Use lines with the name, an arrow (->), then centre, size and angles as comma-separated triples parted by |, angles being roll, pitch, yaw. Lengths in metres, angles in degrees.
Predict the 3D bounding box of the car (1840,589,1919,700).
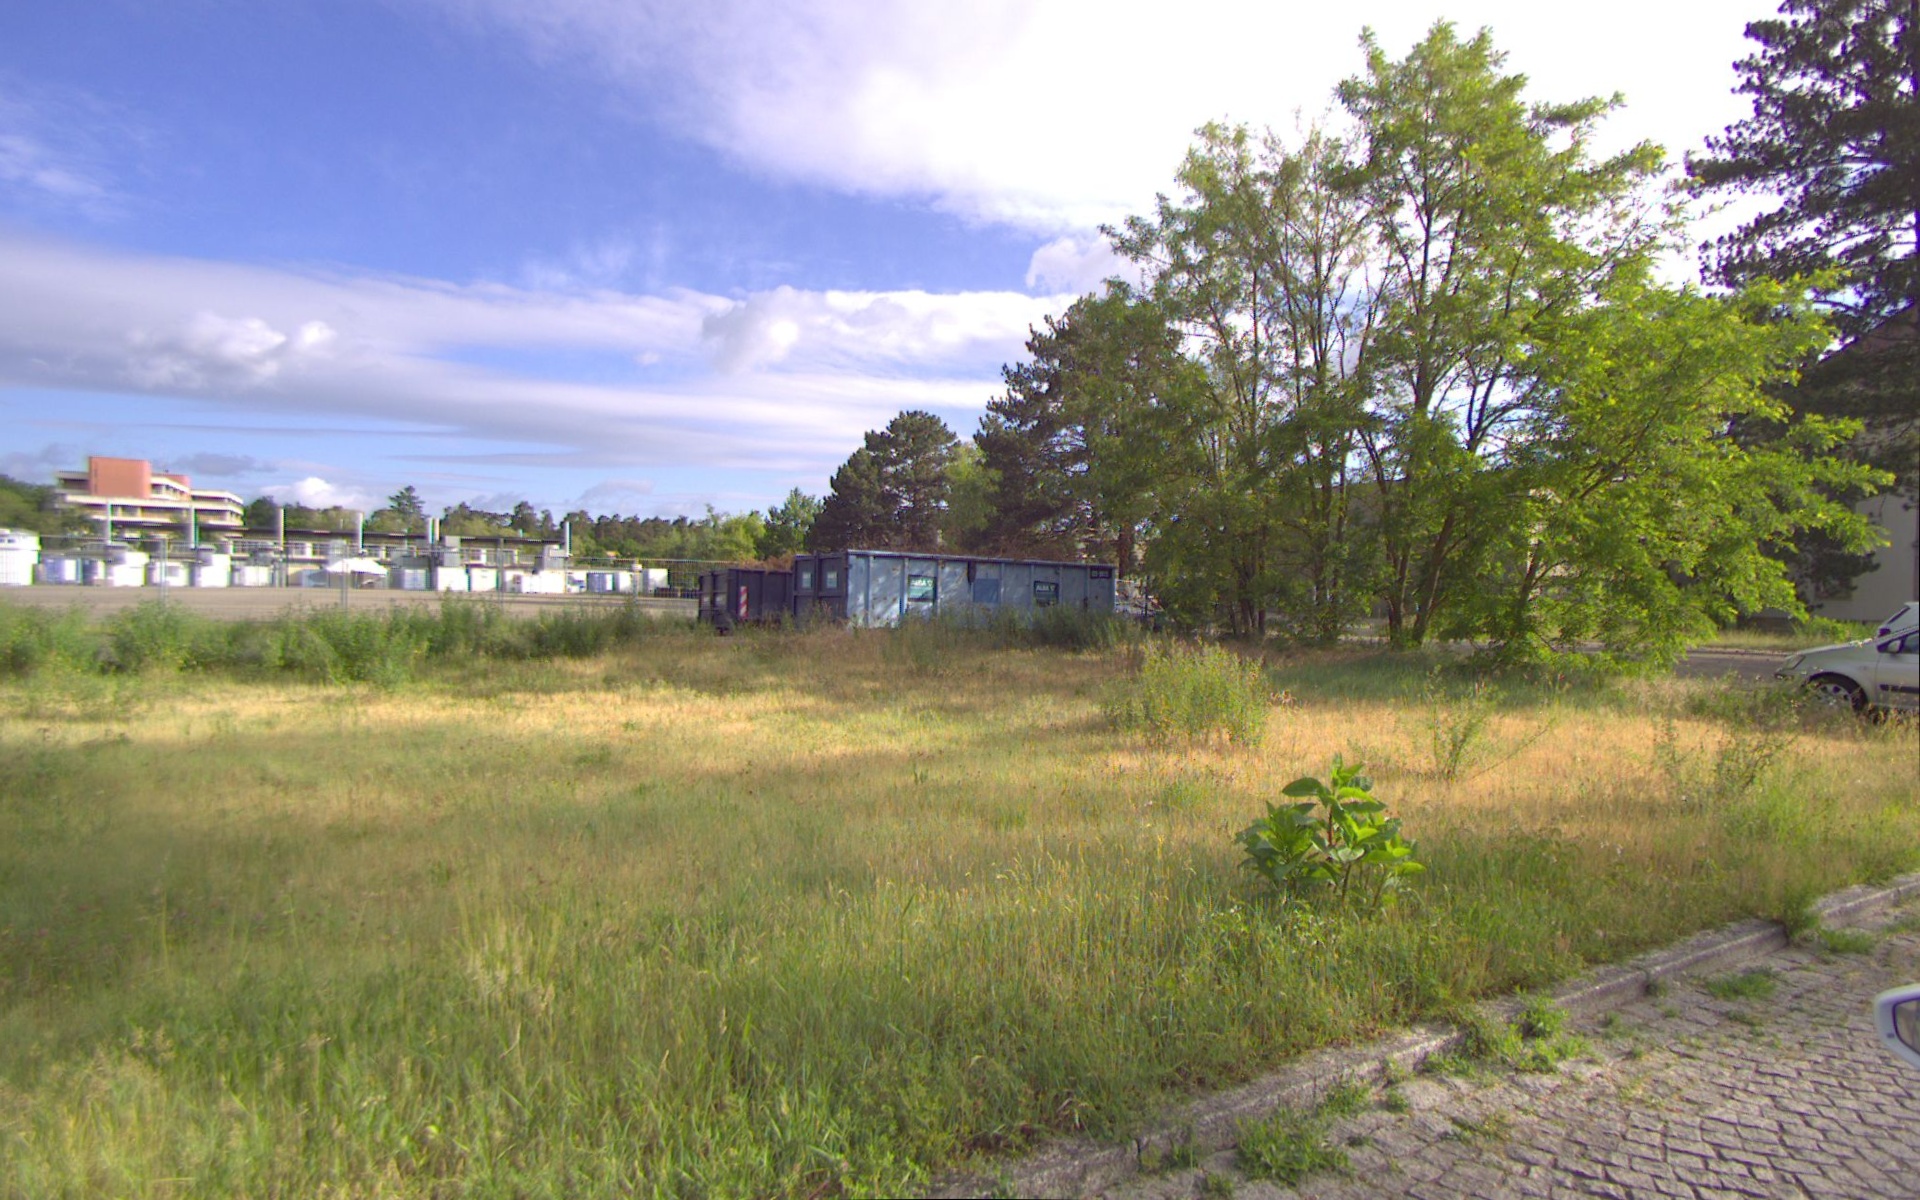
car -> 14.435, 0.741, 13.244 | 1.837, 1.449, 3.808 | 2, 4, -31

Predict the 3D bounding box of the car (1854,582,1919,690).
car -> 16.449, 0.703, 15.092 | 1.840, 1.621, 4.094 | 1, 4, -34

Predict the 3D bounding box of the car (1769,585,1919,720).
car -> 12.203, 0.710, 11.861 | 1.829, 1.493, 3.663 | 2, 4, -31

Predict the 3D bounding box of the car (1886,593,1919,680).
car -> 18.557, 0.795, 16.466 | 1.882, 1.475, 4.560 | -1, 5, -32

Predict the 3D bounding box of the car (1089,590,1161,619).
car -> 8.780, 0.212, 53.695 | 1.645, 1.400, 3.969 | 2, 1, -29
